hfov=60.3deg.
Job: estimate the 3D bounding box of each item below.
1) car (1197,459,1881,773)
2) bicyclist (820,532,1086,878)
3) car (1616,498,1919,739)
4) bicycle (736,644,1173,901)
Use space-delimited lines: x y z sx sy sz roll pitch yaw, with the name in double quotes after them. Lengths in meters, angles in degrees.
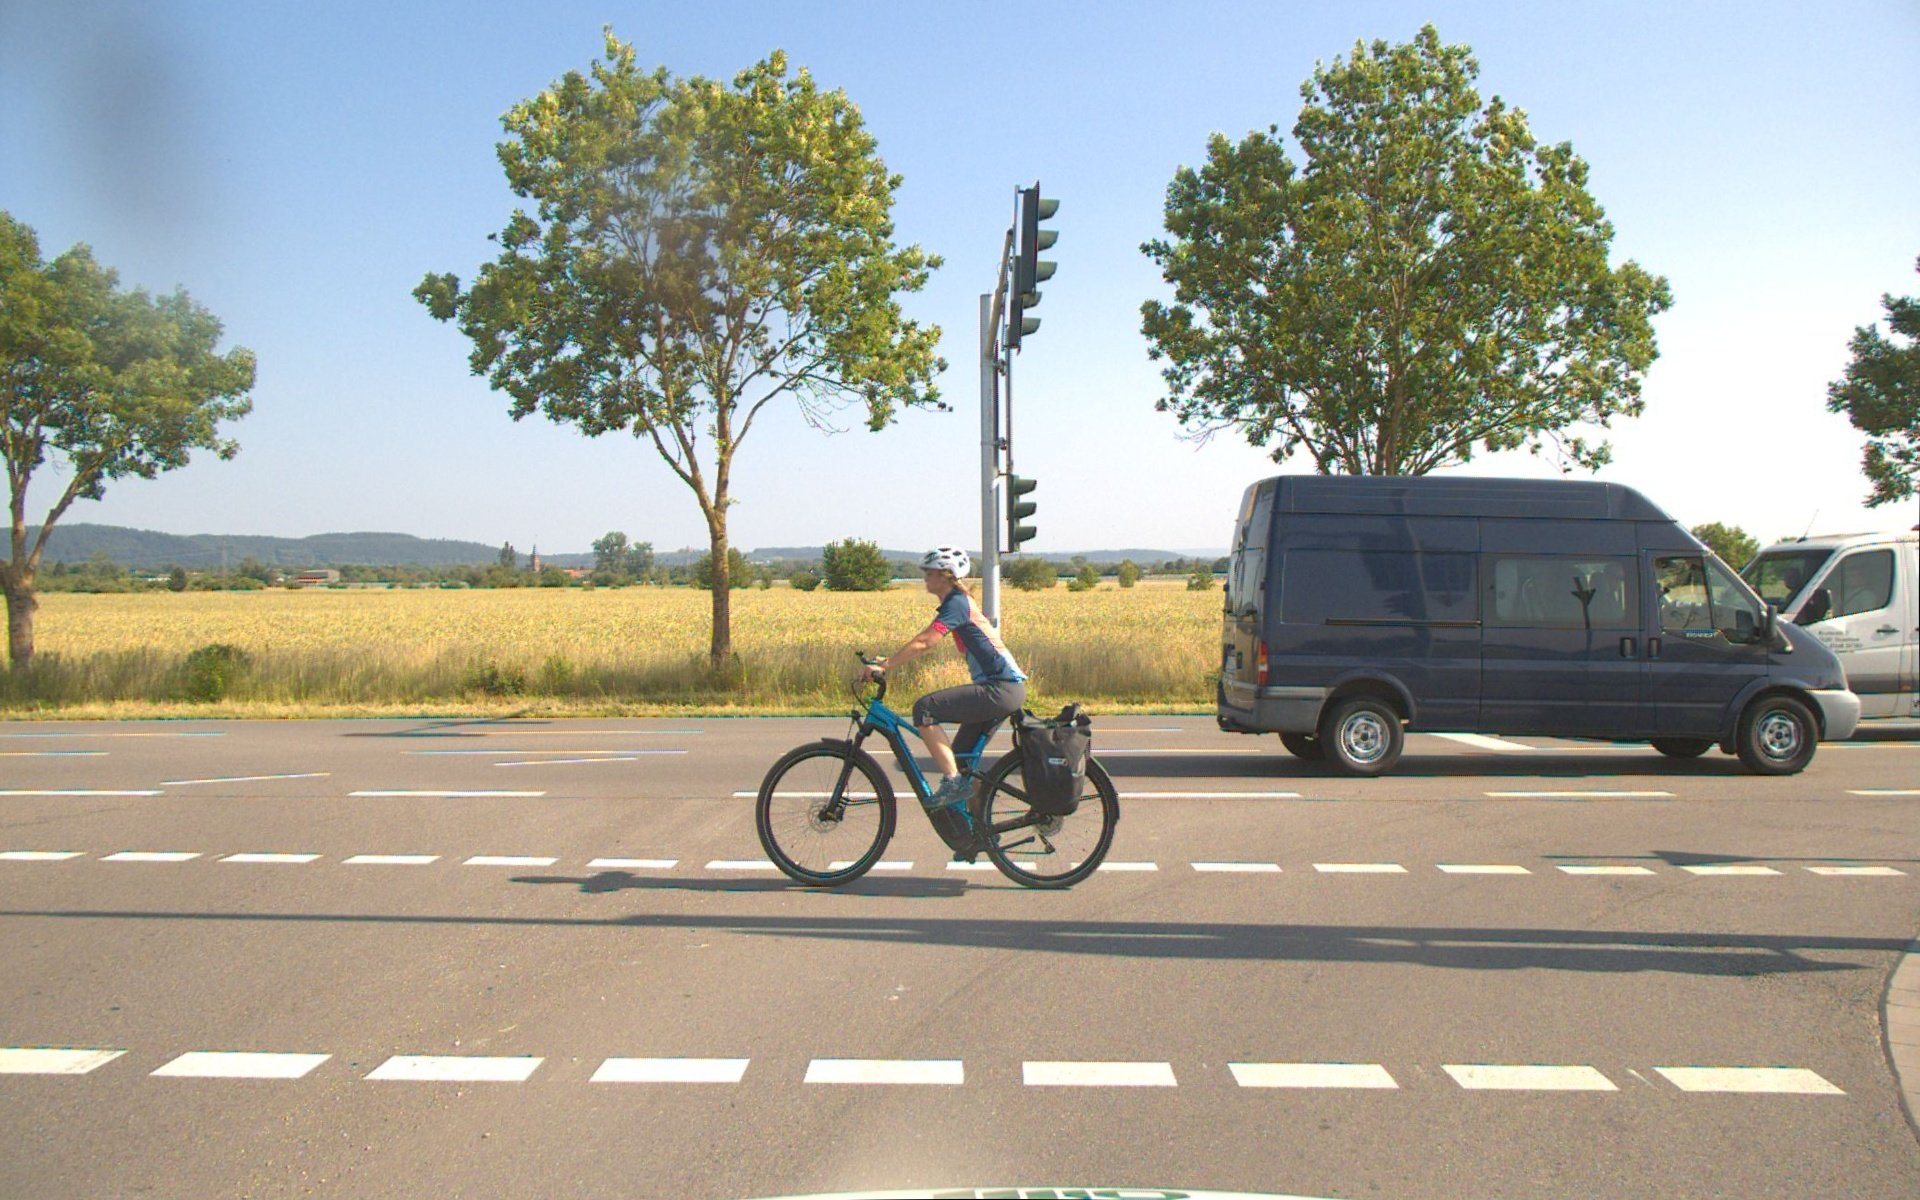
5.164 0.128 15.248 5.617 2.668 2.032 0 0 -3 "car"
-0.076 0.486 8.425 1.254 1.629 1.164 0 1 -6 "bicyclist"
10.802 0.162 18.857 5.838 2.536 1.999 -1 -1 -3 "car"
-0.051 0.833 8.407 2.114 1.207 0.889 0 -1 -6 "bicycle"
